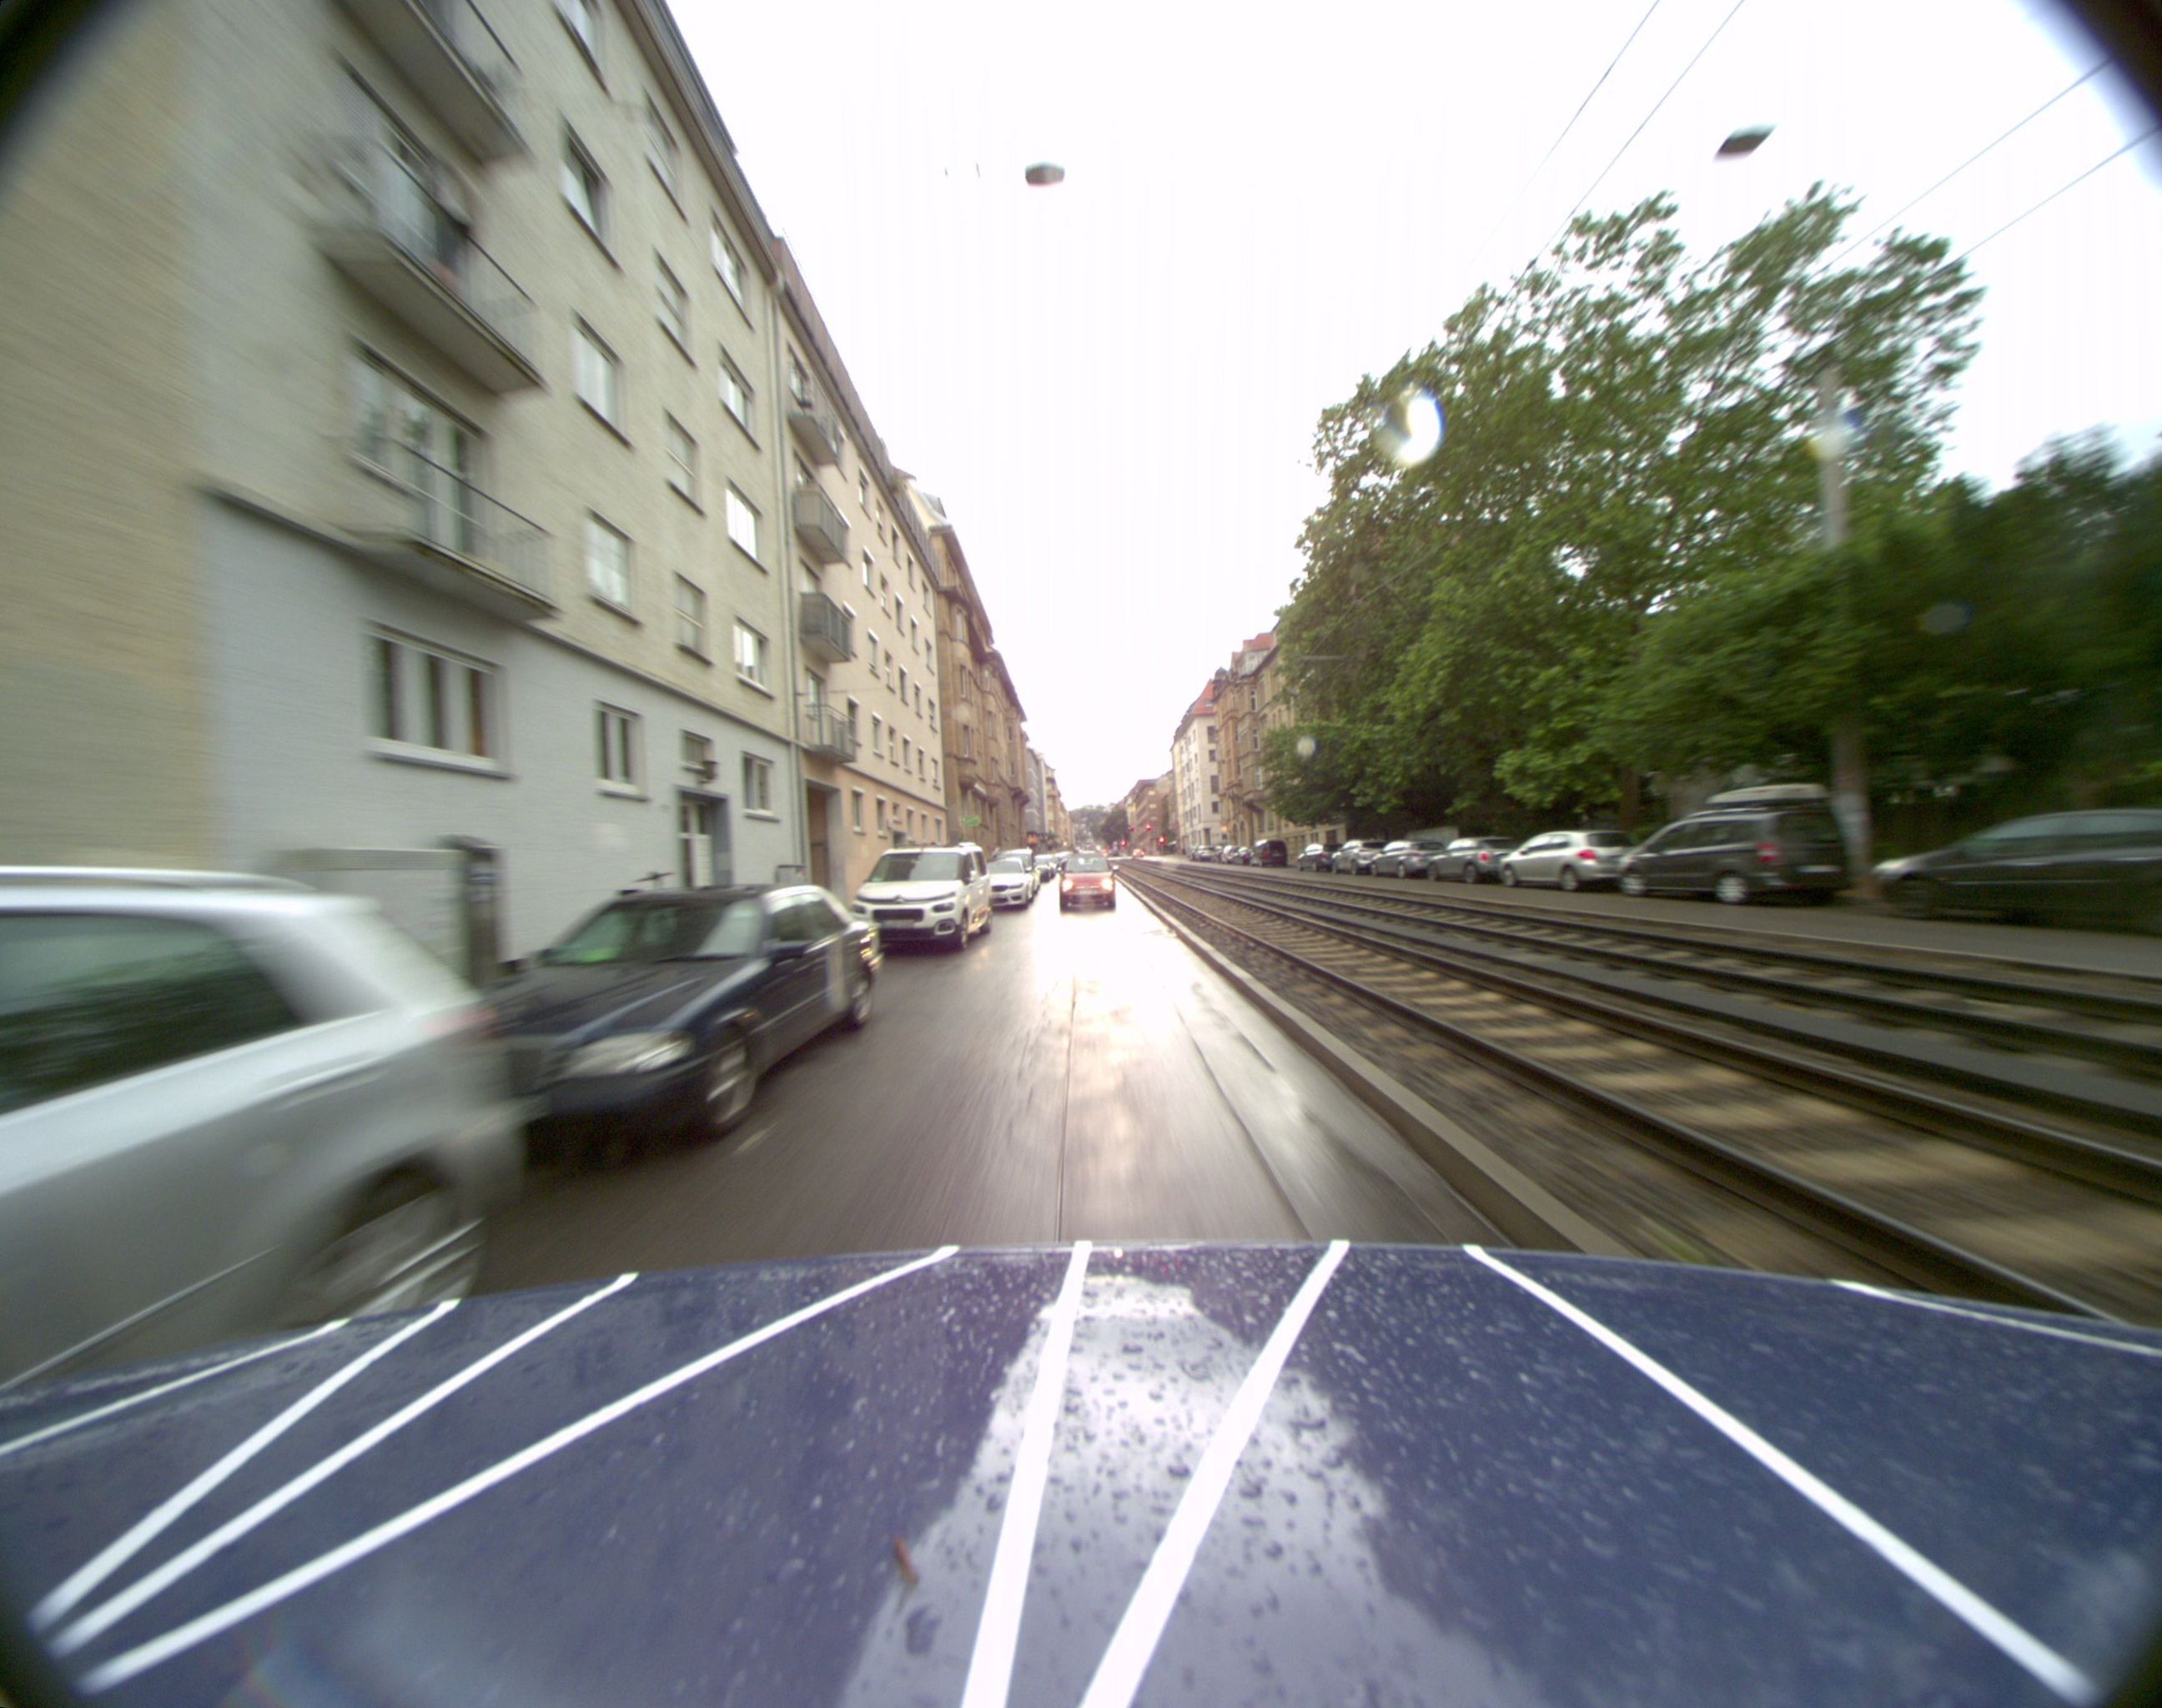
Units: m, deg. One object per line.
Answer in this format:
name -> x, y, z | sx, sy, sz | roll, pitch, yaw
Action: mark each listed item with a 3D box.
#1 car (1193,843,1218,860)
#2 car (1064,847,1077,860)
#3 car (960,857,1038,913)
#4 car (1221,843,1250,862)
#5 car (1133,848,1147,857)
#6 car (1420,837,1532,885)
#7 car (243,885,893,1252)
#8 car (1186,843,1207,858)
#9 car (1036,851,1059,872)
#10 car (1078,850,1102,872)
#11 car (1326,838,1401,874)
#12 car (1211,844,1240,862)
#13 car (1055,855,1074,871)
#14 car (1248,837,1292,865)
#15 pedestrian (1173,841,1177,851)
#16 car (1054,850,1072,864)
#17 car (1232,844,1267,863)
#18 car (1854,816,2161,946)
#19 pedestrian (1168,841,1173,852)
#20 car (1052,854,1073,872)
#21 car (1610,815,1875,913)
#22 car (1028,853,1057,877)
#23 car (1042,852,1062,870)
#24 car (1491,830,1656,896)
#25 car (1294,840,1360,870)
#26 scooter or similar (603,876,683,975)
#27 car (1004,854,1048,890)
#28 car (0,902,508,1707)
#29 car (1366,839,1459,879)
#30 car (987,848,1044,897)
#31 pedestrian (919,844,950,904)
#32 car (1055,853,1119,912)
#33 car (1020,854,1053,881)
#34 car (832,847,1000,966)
car -> 13.043, -0.281, 79.821 | 1.863, 1.643, 4.314 | -3, 1, -1
car -> -1.471, -0.122, 111.462 | 1.797, 1.750, 4.565 | -2, 1, 0
car -> -2.395, 0.856, 23.382 | 1.876, 1.447, 4.902 | -2, 0, 0
car -> 13.085, -0.140, 64.589 | 1.699, 1.515, 3.855 | -1, 1, 1
car -> 10.547, -0.296, 135.590 | 1.986, 1.448, 4.293 | -2, 1, -1
car -> 12.569, 0.182, 24.458 | 1.543, 1.405, 3.952 | -1, 1, 0
car -> -2.849, 1.058, 5.645 | 1.722, 1.339, 4.461 | -3, 1, 0
car -> 12.830, -0.366, 84.603 | 1.863, 1.593, 4.430 | -2, 1, 2
car -> -2.496, 0.535, 56.438 | 1.594, 1.426, 3.683 | -2, 1, -2
car -> 0.886, 0.634, 74.576 | 2.135, 2.002, 4.328 | -2, 1, 1
car -> 12.656, 0.068, 34.320 | 1.758, 1.527, 4.542 | -1, 1, 0
car -> 13.257, -0.124, 69.772 | 1.875, 1.499, 4.169 | -2, 1, 0
car -> -1.578, 0.845, 74.360 | 1.711, 1.390, 4.017 | -2, 1, -1
car -> 12.897, -0.209, 52.074 | 1.805, 1.836, 4.818 | -1, 1, 1
pedestrian -> 16.051, -1.373, 129.880 | 0.603, 1.708, 0.658 | -5, 1, 3
car -> -1.912, 0.315, 79.399 | 1.759, 1.379, 4.484 | -1, 0, -3
car -> 12.964, -0.047, 58.705 | 1.767, 1.390, 4.269 | -1, 1, 0
car -> 12.546, 0.267, 9.533 | 1.679, 1.405, 4.010 | -1, 1, 2
pedestrian -> 15.256, -1.288, 129.970 | 0.603, 1.708, 0.746 | -5, 1, 3
car -> -1.646, 0.808, 69.340 | 1.792, 1.454, 4.082 | -2, 1, -1
car -> 12.486, 0.151, 14.753 | 1.580, 1.633, 4.071 | -1, 1, 0
car -> -2.446, 0.714, 49.484 | 1.672, 1.426, 3.955 | -2, 1, -1
car -> -2.447, 0.615, 64.654 | 1.548, 1.407, 3.445 | -2, 1, -1
car -> 12.486, 0.191, 19.614 | 1.543, 1.496, 4.153 | -1, 1, 0
car -> 12.687, 0.044, 39.485 | 1.854, 1.455, 4.549 | -1, 1, -1
scooter or similar -> -6.239, 0.986, 10.877 | 0.388, 1.290, 1.171 | -2, 1, 1
car -> -2.412, 0.773, 33.917 | 1.574, 1.453, 3.599 | -2, 1, 1
car -> -2.940, 0.988, 0.675 | 1.697, 1.520, 4.000 | -3, 1, 1
car -> 12.664, 0.154, 29.330 | 1.758, 1.405, 4.153 | -1, 1, 0
car -> -2.467, 0.652, 29.508 | 1.795, 1.755, 4.211 | -1, 1, 0
pedestrian -> -4.541, 0.595, 23.589 | 0.747, 1.823, 1.039 | 0, 1, 2
car -> 0.169, 0.765, 22.504 | 1.683, 1.531, 4.018 | -2, 1, 0
car -> -2.532, 0.723, 43.679 | 1.674, 1.402, 4.311 | -2, 1, -1
car -> -2.745, 0.784, 13.760 | 1.832, 1.740, 4.467 | -2, 0, 2
